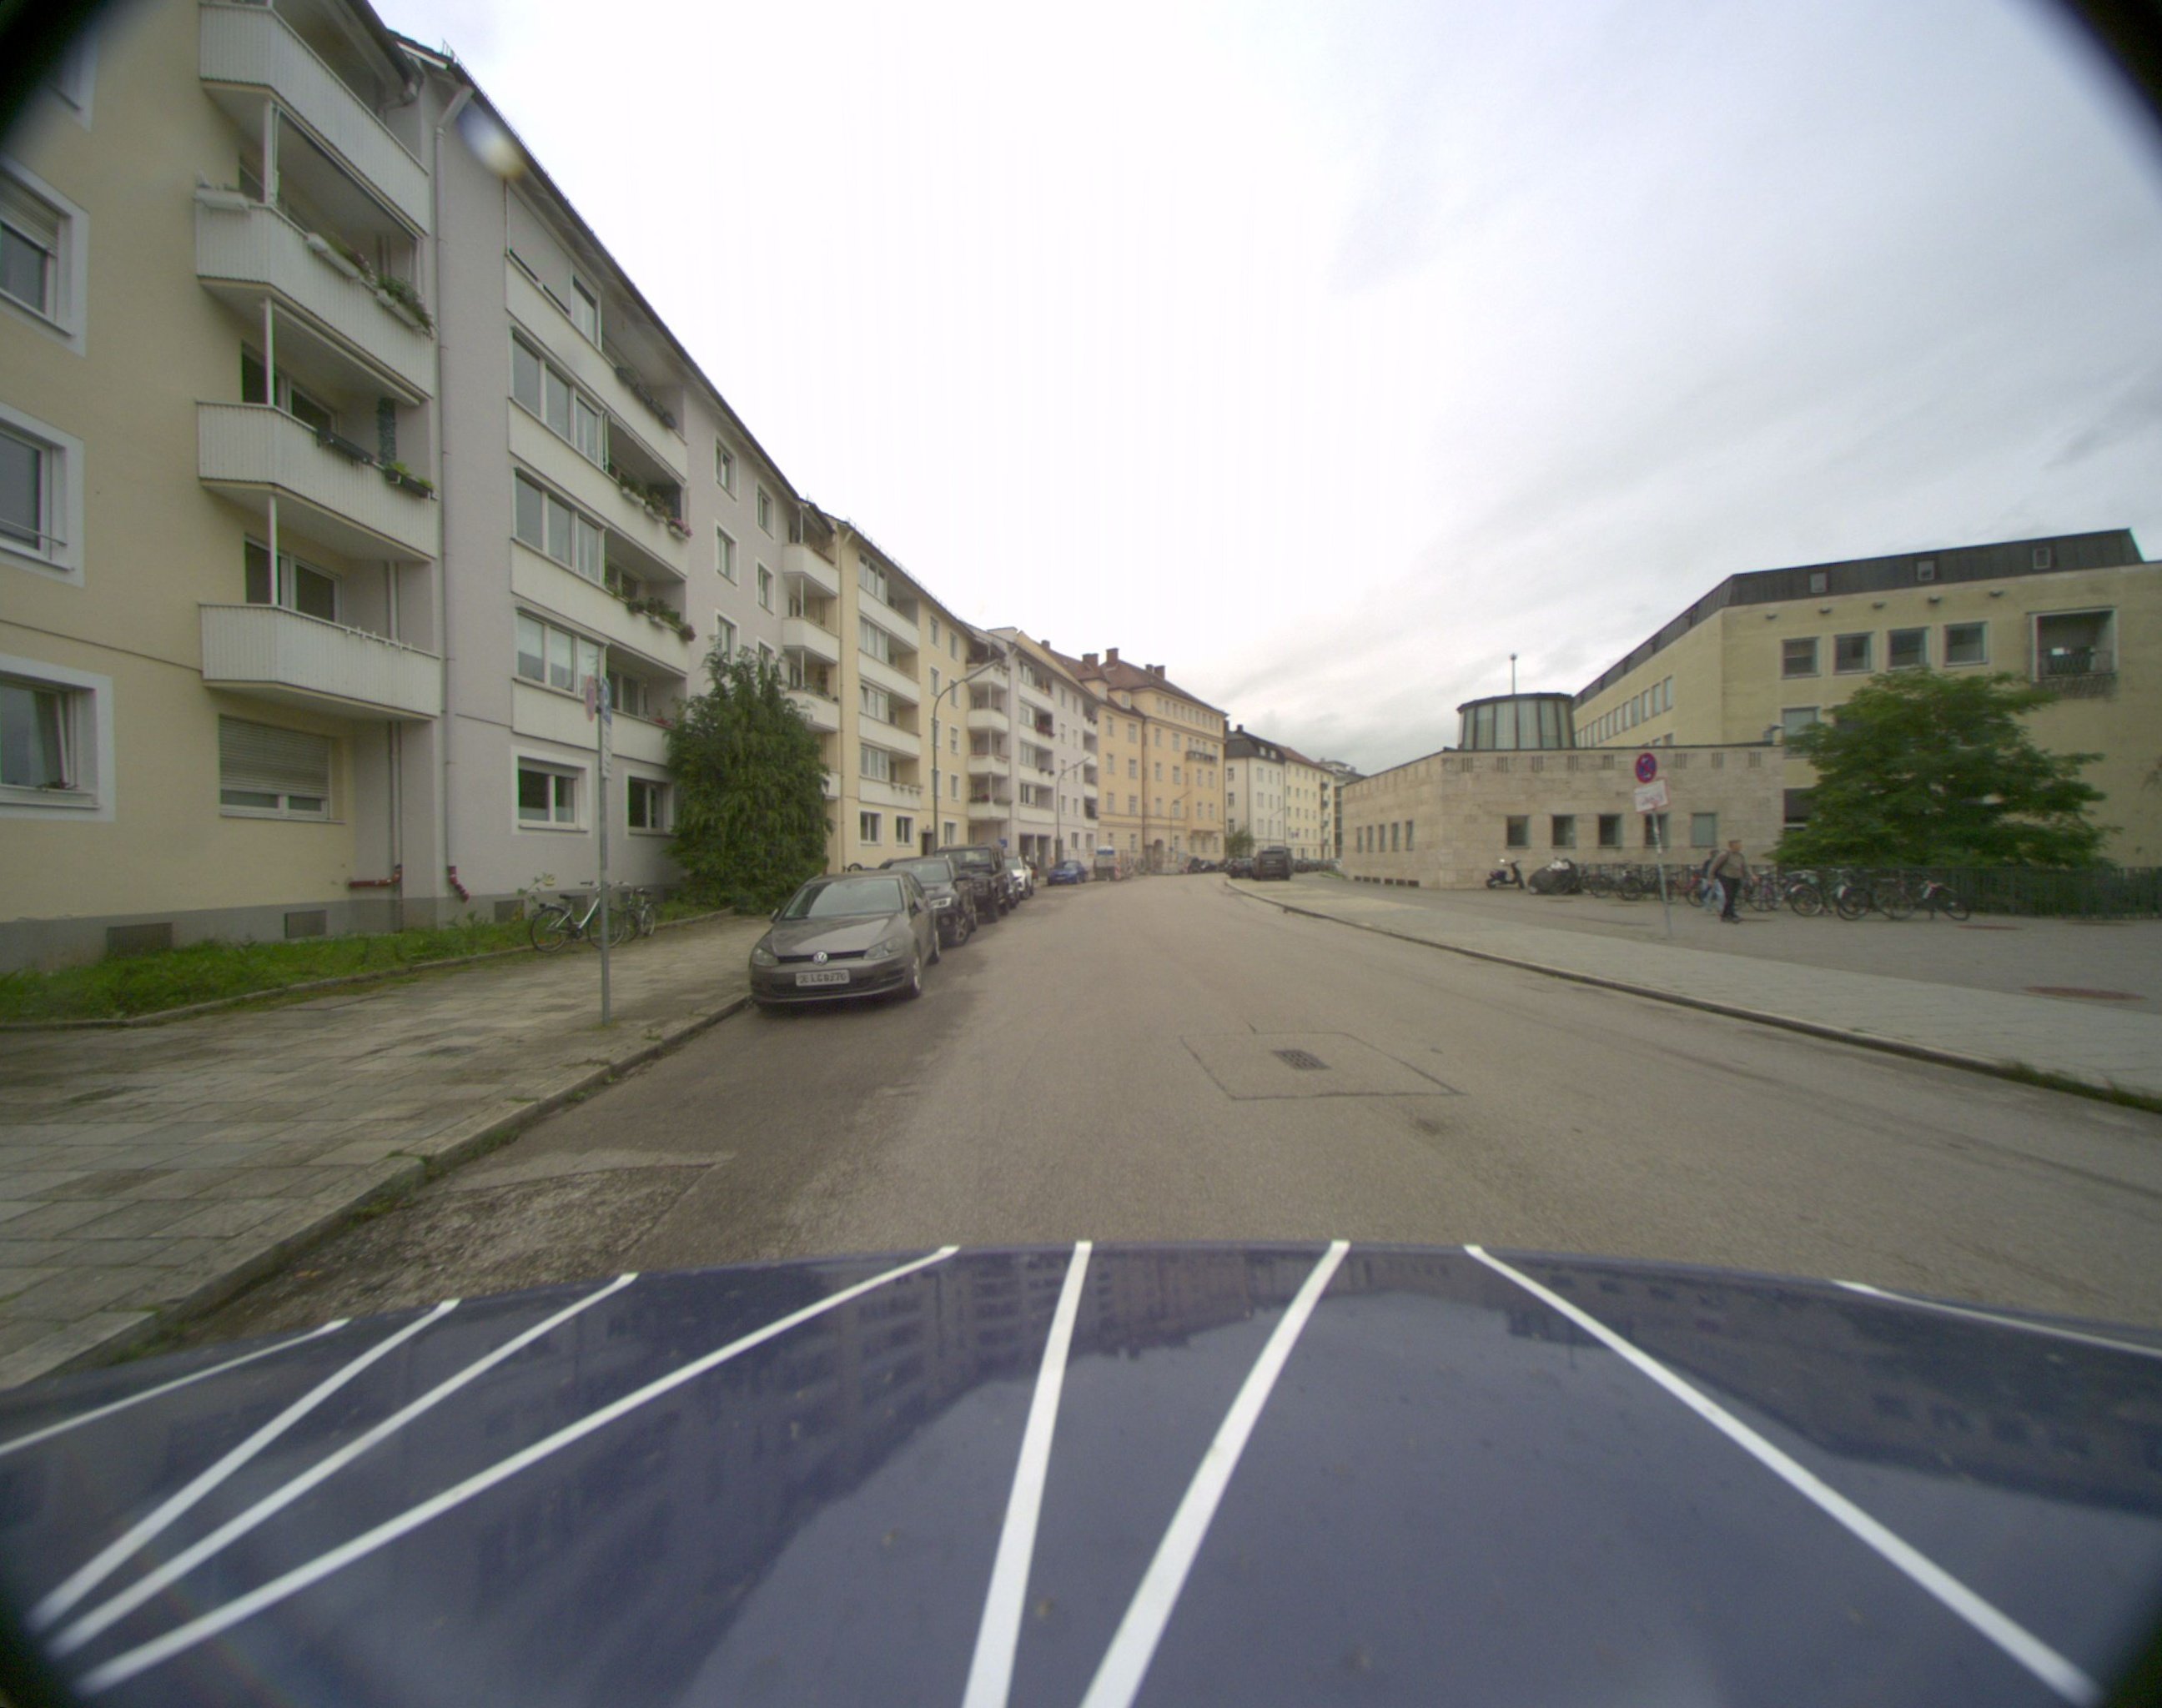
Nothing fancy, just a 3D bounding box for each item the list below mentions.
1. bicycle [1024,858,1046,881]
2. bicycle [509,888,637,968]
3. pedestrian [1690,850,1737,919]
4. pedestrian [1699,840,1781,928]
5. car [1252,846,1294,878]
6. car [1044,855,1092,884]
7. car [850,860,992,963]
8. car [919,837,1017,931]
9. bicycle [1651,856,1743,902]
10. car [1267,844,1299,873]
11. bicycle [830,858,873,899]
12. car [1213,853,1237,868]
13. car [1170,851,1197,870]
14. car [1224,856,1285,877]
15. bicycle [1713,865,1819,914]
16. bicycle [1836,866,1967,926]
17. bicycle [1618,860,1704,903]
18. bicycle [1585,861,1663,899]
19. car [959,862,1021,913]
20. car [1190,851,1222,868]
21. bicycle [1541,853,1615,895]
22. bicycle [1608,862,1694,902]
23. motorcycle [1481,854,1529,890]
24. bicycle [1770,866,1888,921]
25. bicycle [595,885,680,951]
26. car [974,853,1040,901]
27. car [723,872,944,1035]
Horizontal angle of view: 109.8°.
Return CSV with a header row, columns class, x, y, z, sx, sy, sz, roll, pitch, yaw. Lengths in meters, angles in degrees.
class,x,y,z,sx,sy,sz,roll,pitch,yaw
bicycle,-2.809,0.923,46.993,0.811,1.315,2.776,1,1,8
bicycle,-8.104,1.140,12.233,0.468,1.111,1.946,0,0,12
pedestrian,15.078,0.722,18.117,0.645,1.592,0.605,-2,0,-25
pedestrian,13.865,0.607,16.013,0.789,1.772,1.013,-2,1,-11
car,11.533,0.483,45.969,1.997,1.761,4.818,-1,0,8
car,-0.679,0.859,44.441,1.834,1.433,4.632,-6,-1,9
car,-2.858,0.948,14.578,1.662,1.556,4.514,-3,0,1
car,-2.783,0.715,19.685,1.752,2.069,4.516,-3,-1,0
bicycle,16.457,0.660,20.301,2.052,1.104,0.616,-2,0,-7
car,18.692,0.378,69.988,2.146,2.559,6.221,1,0,21
bicycle,-8.216,0.843,27.292,0.744,1.359,2.471,2,0,0
car,16.096,0.769,84.881,1.508,1.547,2.868,-3,-1,36
car,10.204,0.605,75.304,1.839,1.788,4.244,-3,-1,18
car,12.569,0.907,55.060,4.010,1.365,1.746,1,1,-18
bicycle,16.697,0.856,18.537,2.051,1.104,0.616,-2,0,-3
bicycle,16.766,0.852,15.544,2.051,1.104,0.616,-2,0,-3
bicycle,16.401,0.772,21.510,2.052,1.104,0.616,-2,0,-7
bicycle,17.559,0.838,24.587,2.050,1.104,0.617,-3,0,1
car,-2.846,1.010,24.469,1.663,1.341,3.802,-3,1,-3
car,13.202,0.565,80.106,1.838,1.719,3.737,-3,-1,34
bicycle,17.182,0.705,26.276,2.103,1.344,0.614,-3,0,-1
bicycle,17.346,0.851,23.142,2.050,1.104,0.617,-3,0,4
motorcycle,17.172,0.735,30.780,1.568,1.397,0.515,-3,0,2
bicycle,16.669,0.875,16.956,2.051,1.104,0.616,-2,0,-3
bicycle,-8.423,1.180,14.523,0.468,1.111,1.944,0,0,0
car,-2.805,0.860,29.738,2.031,1.668,4.613,-3,-1,0
car,-2.810,1.027,9.570,1.759,1.388,4.042,-3,1,-6
